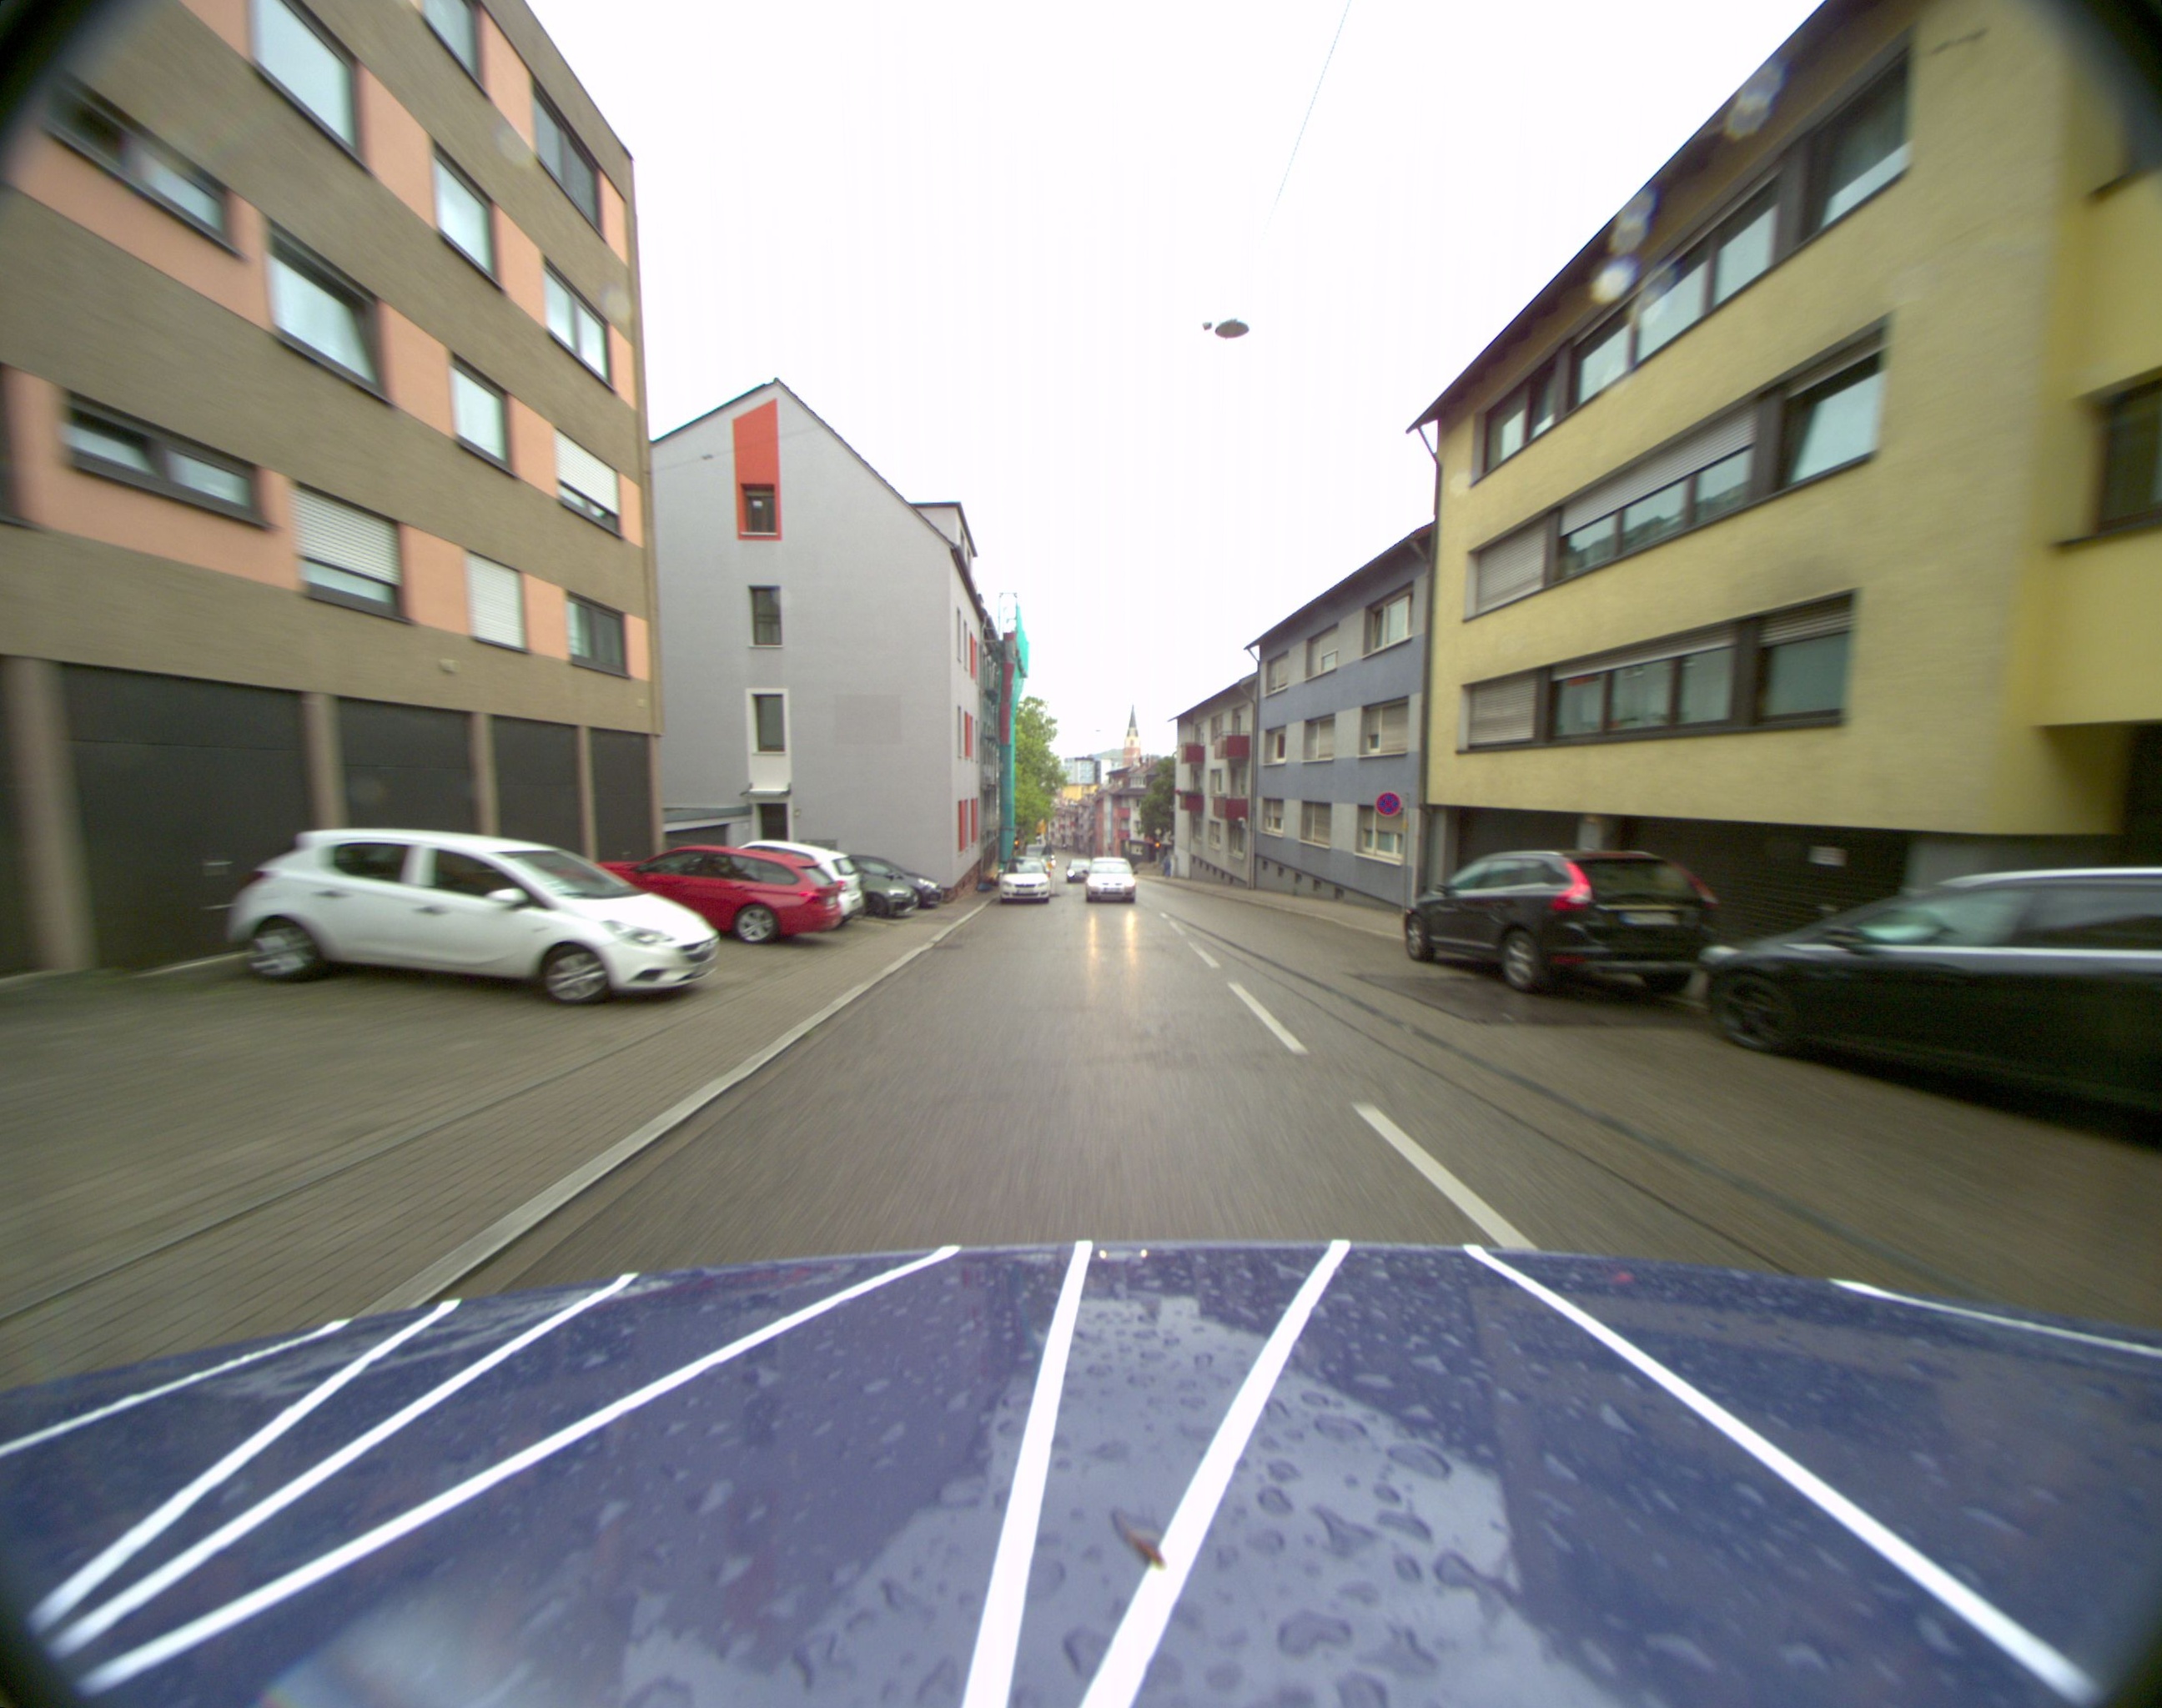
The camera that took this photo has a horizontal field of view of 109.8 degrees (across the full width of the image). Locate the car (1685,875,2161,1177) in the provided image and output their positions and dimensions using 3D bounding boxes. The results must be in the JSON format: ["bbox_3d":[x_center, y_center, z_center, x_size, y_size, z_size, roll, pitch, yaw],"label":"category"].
[{"bbox_3d":[6.429,0.915,4.556,1.999,1.463,4.347,1,0,-3],"label":"car"}]

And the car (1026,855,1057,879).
[{"bbox_3d":[-2.701,0.873,52.064,1.999,1.503,4.336,-1,1,-2],"label":"car"}]

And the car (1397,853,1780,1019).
[{"bbox_3d":[6.014,0.836,9.845,1.998,1.640,4.441,1,0,0],"label":"car"}]

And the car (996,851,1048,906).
[{"bbox_3d":[-2.026,0.825,26.748,1.644,1.752,3.999,-1,-1,-3],"label":"car"}]

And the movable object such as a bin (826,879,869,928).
[{"bbox_3d":[-5.231,1.099,17.082,0.724,1.015,0.771,-1,2,-3],"label":"movable object such as a bin"}]

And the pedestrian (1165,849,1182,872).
[{"bbox_3d":[6.346,0.458,52.231,0.872,1.531,1.088,-1,-5,-4],"label":"pedestrian"}]

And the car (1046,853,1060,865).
[{"bbox_3d":[-3.539,0.591,96.433,1.637,1.521,3.998,-1,0,-4],"label":"car"}]

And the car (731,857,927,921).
[{"bbox_3d":[-6.153,0.841,18.946,4.280,1.457,1.893,1,0,-4],"label":"car"}]

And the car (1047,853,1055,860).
[{"bbox_3d":[-6.556,0.564,165.359,1.637,1.521,3.999,-1,0,-1],"label":"car"}]

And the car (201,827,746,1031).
[{"bbox_3d":[-5.850,0.708,7.791,3.974,1.521,1.691,6,0,-6],"label":"car"}]

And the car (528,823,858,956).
[{"bbox_3d":[-6.227,0.564,12.647,4.354,1.521,1.876,7,0,-3],"label":"car"}]

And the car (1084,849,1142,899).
[{"bbox_3d":[1.067,0.659,27.356,1.720,1.528,3.997,-1,2,-3],"label":"car"}]

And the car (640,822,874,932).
[{"bbox_3d":[-6.398,0.447,15.348,3.837,1.692,1.728,6,0,-4],"label":"car"}]

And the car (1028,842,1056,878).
[{"bbox_3d":[-2.921,0.389,57.944,1.999,2.400,5.833,-1,2,-2],"label":"car"}]

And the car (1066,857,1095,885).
[{"bbox_3d":[-0.066,1.042,48.633,1.720,1.528,3.998,-1,2,-2],"label":"car"}]

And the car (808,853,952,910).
[{"bbox_3d":[-5.806,0.786,22.277,3.813,1.541,1.660,1,0,-4],"label":"car"}]
